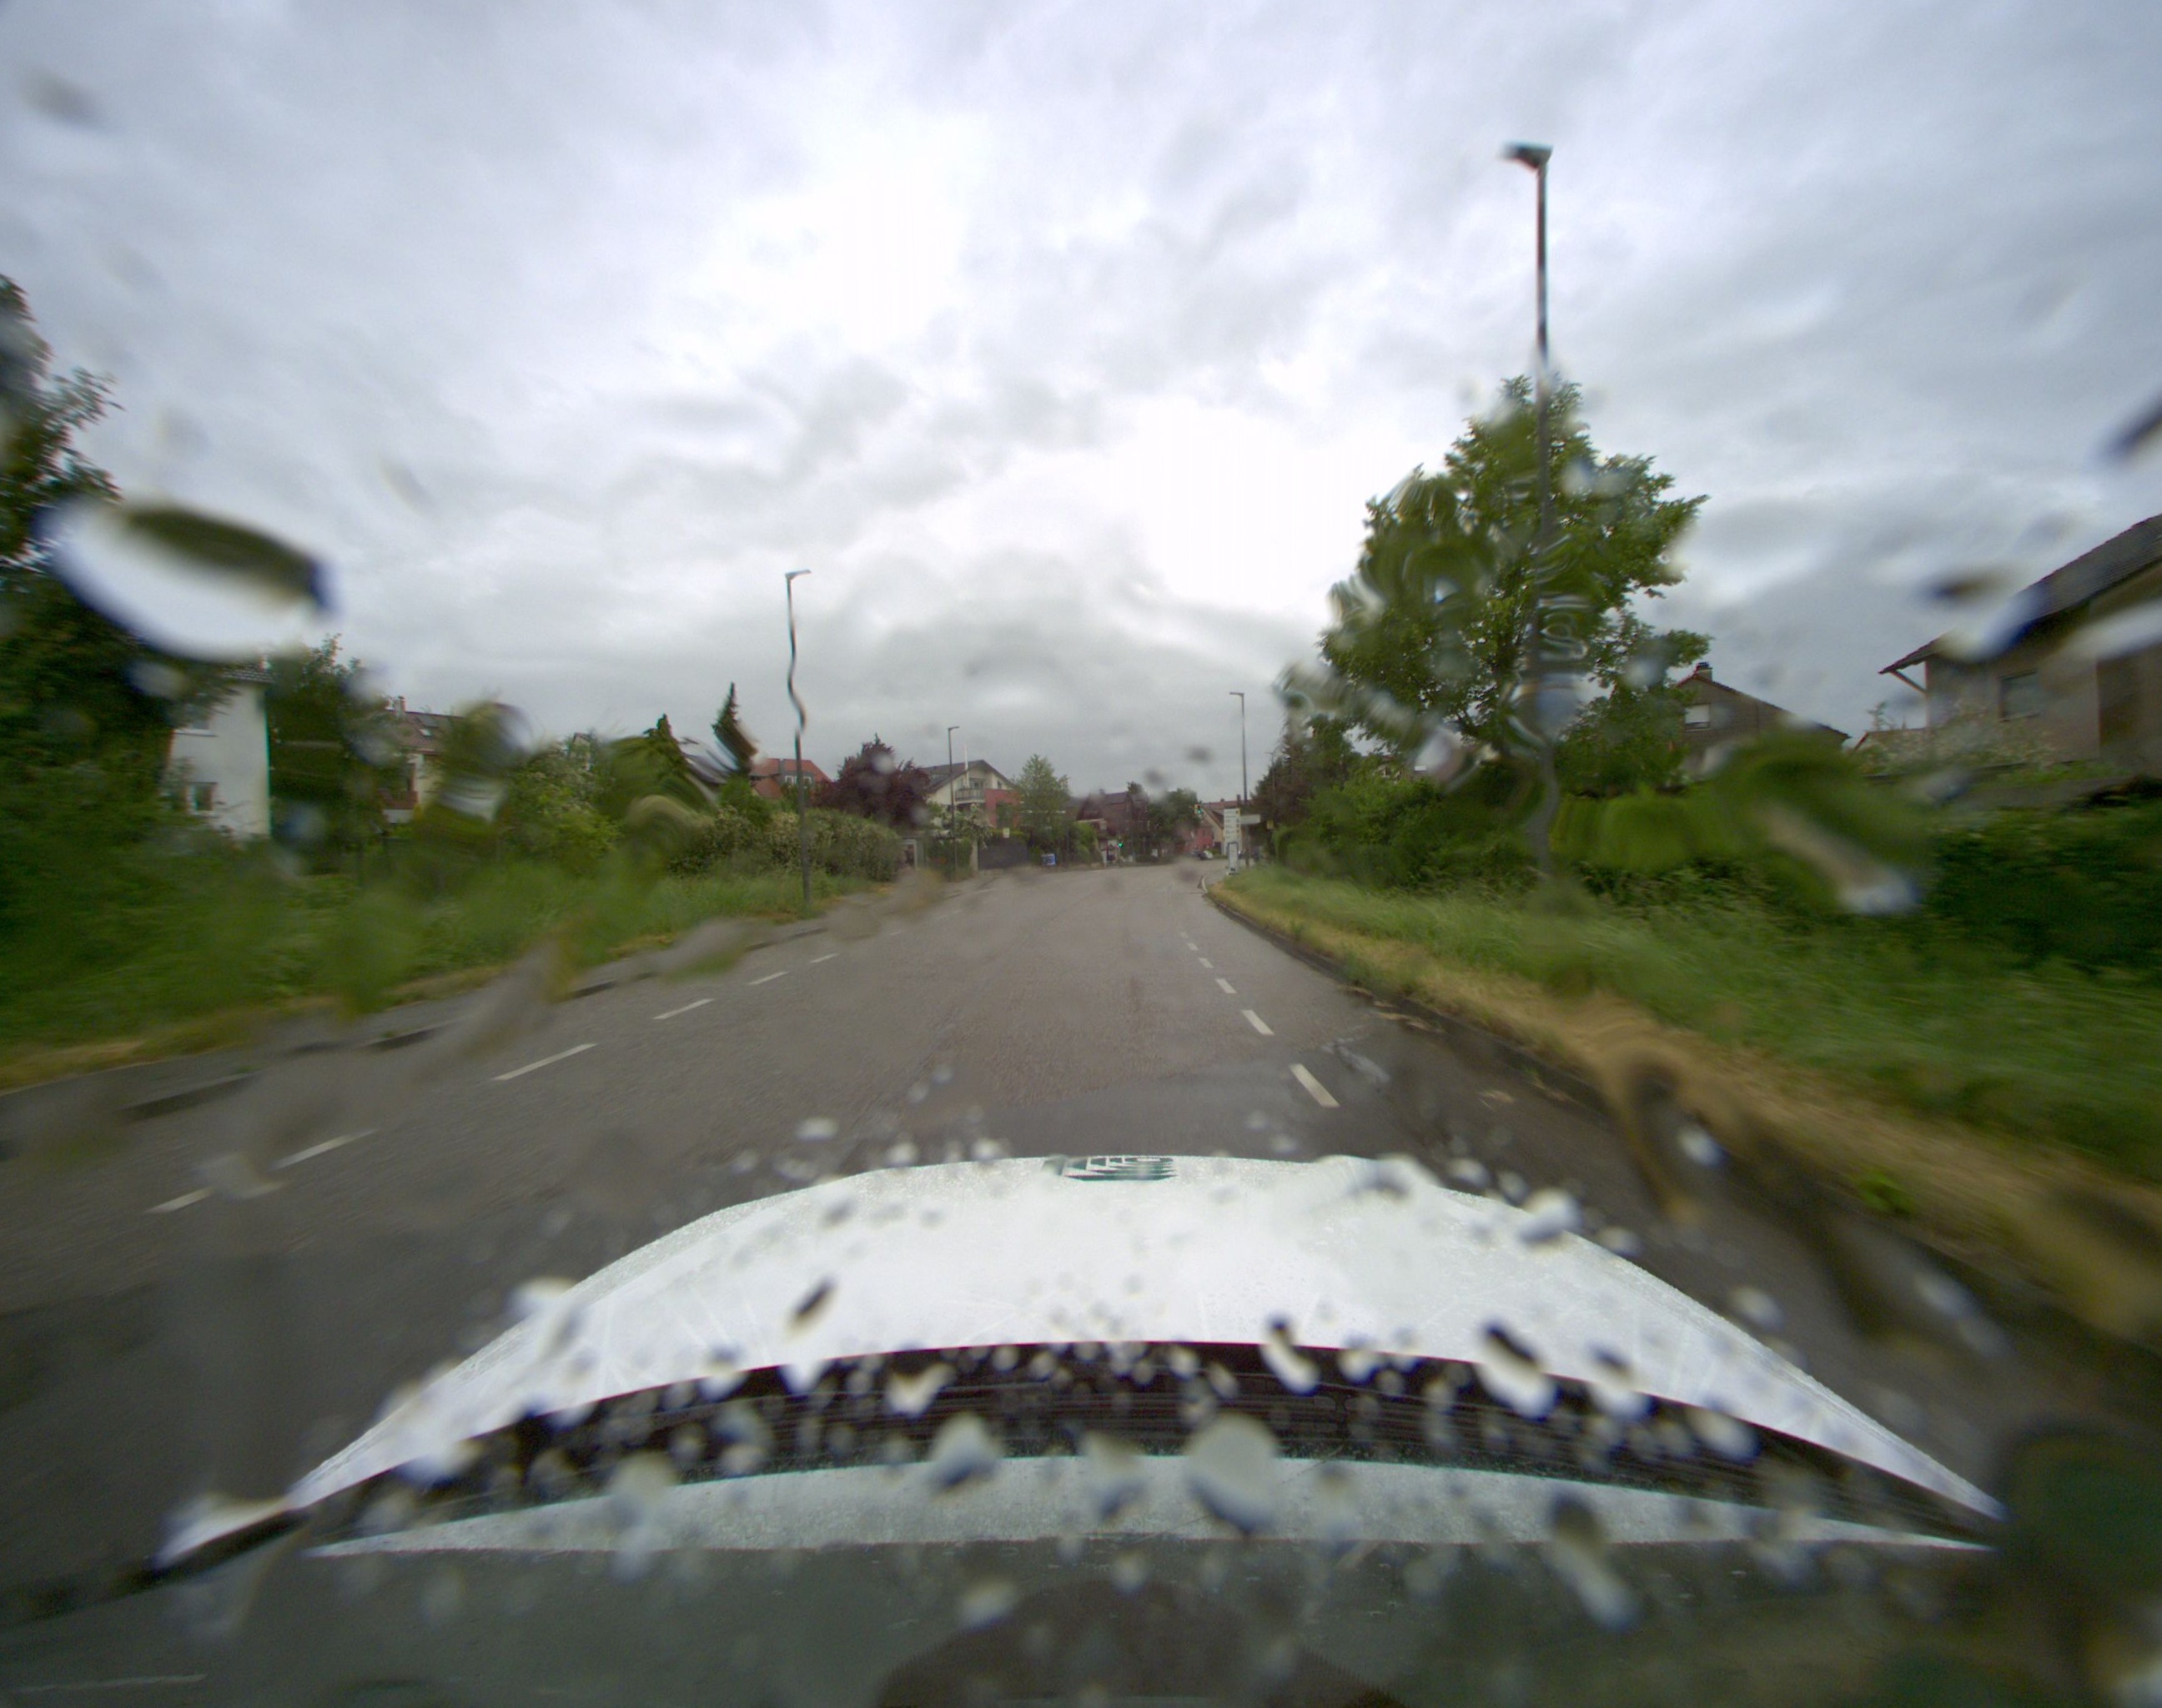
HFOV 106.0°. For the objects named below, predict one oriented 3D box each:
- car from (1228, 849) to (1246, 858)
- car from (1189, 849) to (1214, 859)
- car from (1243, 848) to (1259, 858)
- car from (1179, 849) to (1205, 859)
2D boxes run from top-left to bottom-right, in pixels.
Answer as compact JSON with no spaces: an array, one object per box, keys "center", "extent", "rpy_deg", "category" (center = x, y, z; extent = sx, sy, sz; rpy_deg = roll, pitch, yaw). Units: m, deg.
[{"center":[25.061,-0.065,130.979],"extent":[1.611,1.355,4.136],"rpy_deg":[0,1,30],"category":"car"},{"center":[18.983,0.010,128.521],"extent":[3.427,1.479,1.601],"rpy_deg":[-3,-1,33],"category":"car"},{"center":[29.567,-0.229,141.490],"extent":[1.589,1.617,3.297],"rpy_deg":[-3,-1,31],"category":"car"},{"center":[16.911,-0.059,124.386],"extent":[3.541,1.506,1.867],"rpy_deg":[1,1,35],"category":"car"}]
